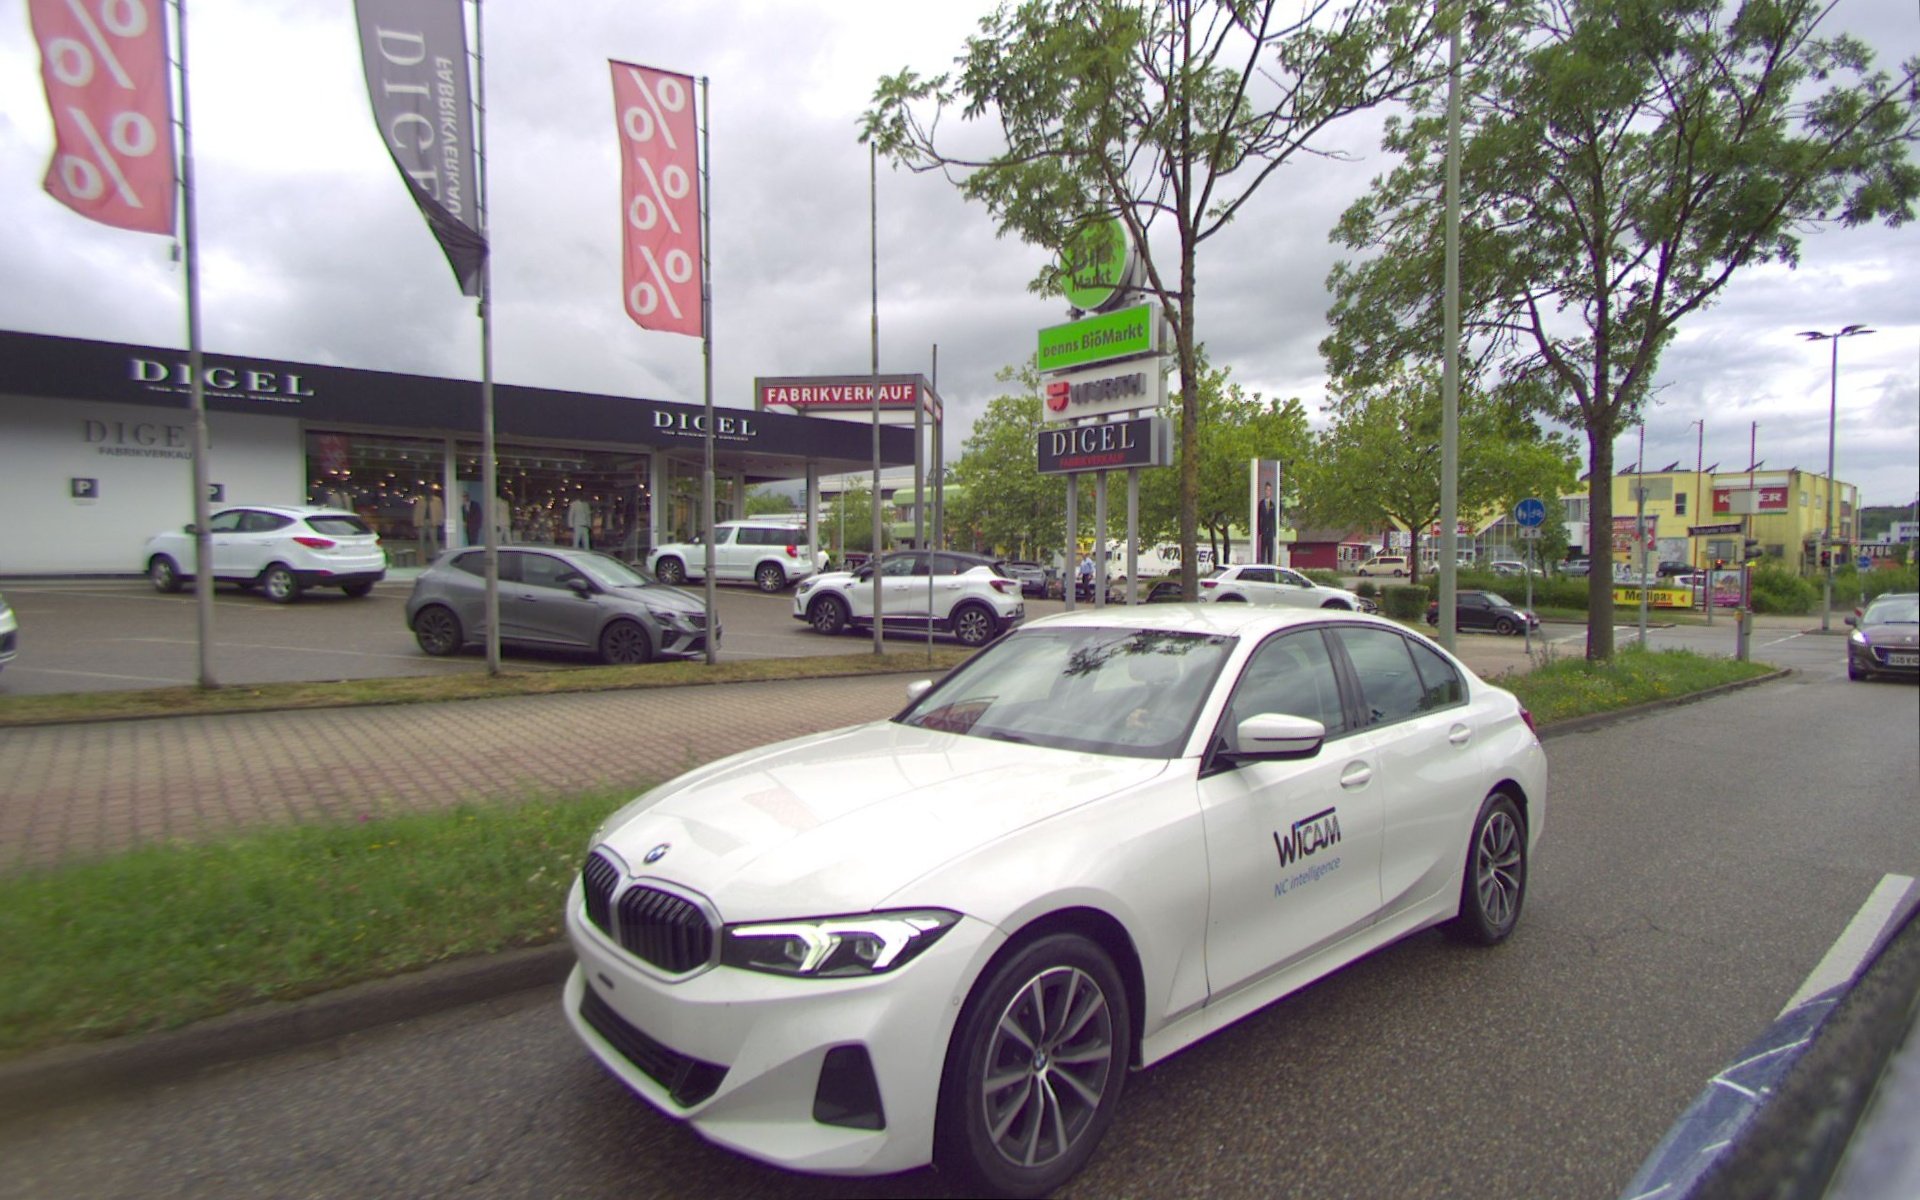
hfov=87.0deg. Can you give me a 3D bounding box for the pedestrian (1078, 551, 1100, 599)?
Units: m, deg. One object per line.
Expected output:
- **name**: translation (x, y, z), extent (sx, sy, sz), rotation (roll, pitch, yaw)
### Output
- **pedestrian**: translation (4.615, -0.880, 36.198), extent (0.556, 1.702, 0.473), rotation (1, 1, -27)

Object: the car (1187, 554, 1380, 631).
- **car**: translation (8.084, -0.230, 25.602), extent (4.238, 1.598, 1.742), rotation (3, 4, 5)

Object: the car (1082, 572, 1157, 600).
- **car**: translation (9.079, -0.831, 57.709), extent (1.716, 1.528, 3.989), rotation (-4, 4, -44)

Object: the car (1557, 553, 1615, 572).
- **car**: translation (55.615, -3.350, 89.957), extent (1.768, 1.529, 3.997), rotation (0, 3, -39)

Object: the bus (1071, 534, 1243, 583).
- **bus**: translation (16.813, -3.377, 84.700), extent (17.021, 3.556, 4.102), rotation (0, 3, -39)

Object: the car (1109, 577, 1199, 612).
- **car**: translation (9.254, -0.307, 48.447), extent (1.716, 1.528, 3.989), rotation (-4, 4, -44)

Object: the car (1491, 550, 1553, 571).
- **car**: translation (45.454, -3.195, 81.927), extent (1.768, 1.529, 3.997), rotation (0, 3, -39)

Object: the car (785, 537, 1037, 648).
- **car**: translation (-0.825, -0.199, 17.978), extent (4.114, 1.598, 1.738), rotation (4, 4, 12)

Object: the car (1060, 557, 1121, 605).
- **car**: translation (5.130, -0.789, 39.416), extent (1.774, 1.527, 4.100), rotation (4, 5, 14)

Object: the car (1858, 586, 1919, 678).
- **car**: translation (18.314, 0.551, 18.954), extent (4.146, 1.601, 1.797), rotation (0, 0, -42)

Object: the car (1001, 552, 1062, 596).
- **car**: translation (3.046, -1.148, 42.376), extent (1.774, 1.527, 4.100), rotation (4, 5, 14)

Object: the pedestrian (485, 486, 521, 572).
- **pedestrian**: translation (-11.168, -1.711, 24.723), extent (0.646, 2.039, 0.612), rotation (0, 0, -40)

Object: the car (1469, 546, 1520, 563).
- **car**: translation (55.141, -4.675, 104.492), extent (1.791, 1.601, 4.221), rotation (0, 3, -39)

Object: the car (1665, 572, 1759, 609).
- **car**: translation (40.429, -0.535, 54.451), extent (3.981, 1.834, 1.743), rotation (4, 3, 39)

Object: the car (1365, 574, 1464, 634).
- **car**: translation (13.364, 0.087, 29.987), extent (1.715, 1.599, 3.863), rotation (3, 1, 10)

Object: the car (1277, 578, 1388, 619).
- **car**: translation (15.412, -0.115, 41.941), extent (1.716, 1.528, 3.989), rotation (-4, 4, -44)

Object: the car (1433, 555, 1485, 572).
- **car**: translation (49.618, -3.617, 100.614), extent (1.791, 1.601, 4.221), rotation (0, 3, -39)

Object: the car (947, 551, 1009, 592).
- **car**: translation (0.847, -1.299, 44.695), extent (1.774, 1.527, 4.100), rotation (4, 5, 14)

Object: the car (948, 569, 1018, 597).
- **car**: translation (1.298, -0.999, 58.383), extent (1.716, 1.528, 3.989), rotation (-4, 4, -44)

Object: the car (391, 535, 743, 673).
- **car**: translation (-5.077, -0.023, 13.318), extent (3.951, 1.454, 1.741), rotation (4, 4, 8)

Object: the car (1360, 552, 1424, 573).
- **car**: translation (40.015, -3.496, 93.875), extent (1.998, 1.819, 5.093), rotation (0, 3, -39)

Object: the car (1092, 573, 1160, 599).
- **car**: translation (10.447, -0.917, 63.903), extent (1.716, 1.528, 3.989), rotation (-4, 4, -44)

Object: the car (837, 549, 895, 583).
- **car**: translation (-5.945, -2.157, 63.805), extent (1.767, 2.024, 4.000), rotation (0, 3, -37)

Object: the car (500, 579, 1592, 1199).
- **car**: translation (0.760, 0.683, 4.109), extent (4.463, 1.458, 1.807), rotation (-2, 1, -41)

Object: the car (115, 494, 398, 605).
- **car**: translation (-12.982, -0.986, 18.757), extent (4.430, 1.700, 1.795), rotation (4, 5, 13)

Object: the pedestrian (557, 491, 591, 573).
- **pedestrian**: translation (-9.867, -1.728, 25.846), extent (0.646, 2.039, 0.612), rotation (0, 0, -40)

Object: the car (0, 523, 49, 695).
- **car**: translation (-10.560, -0.026, 8.944), extent (4.122, 1.490, 1.783), rotation (4, 4, 14)

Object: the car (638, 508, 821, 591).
- **car**: translation (-5.694, -1.292, 25.194), extent (4.045, 1.766, 1.799), rotation (3, 5, 7)

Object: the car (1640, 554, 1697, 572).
- **car**: translation (66.008, -3.447, 94.380), extent (1.768, 1.529, 3.997), rotation (0, 3, -39)

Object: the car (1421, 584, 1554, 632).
- **car**: translation (19.256, 0.243, 37.053), extent (1.716, 1.528, 3.989), rotation (-4, 4, -44)
